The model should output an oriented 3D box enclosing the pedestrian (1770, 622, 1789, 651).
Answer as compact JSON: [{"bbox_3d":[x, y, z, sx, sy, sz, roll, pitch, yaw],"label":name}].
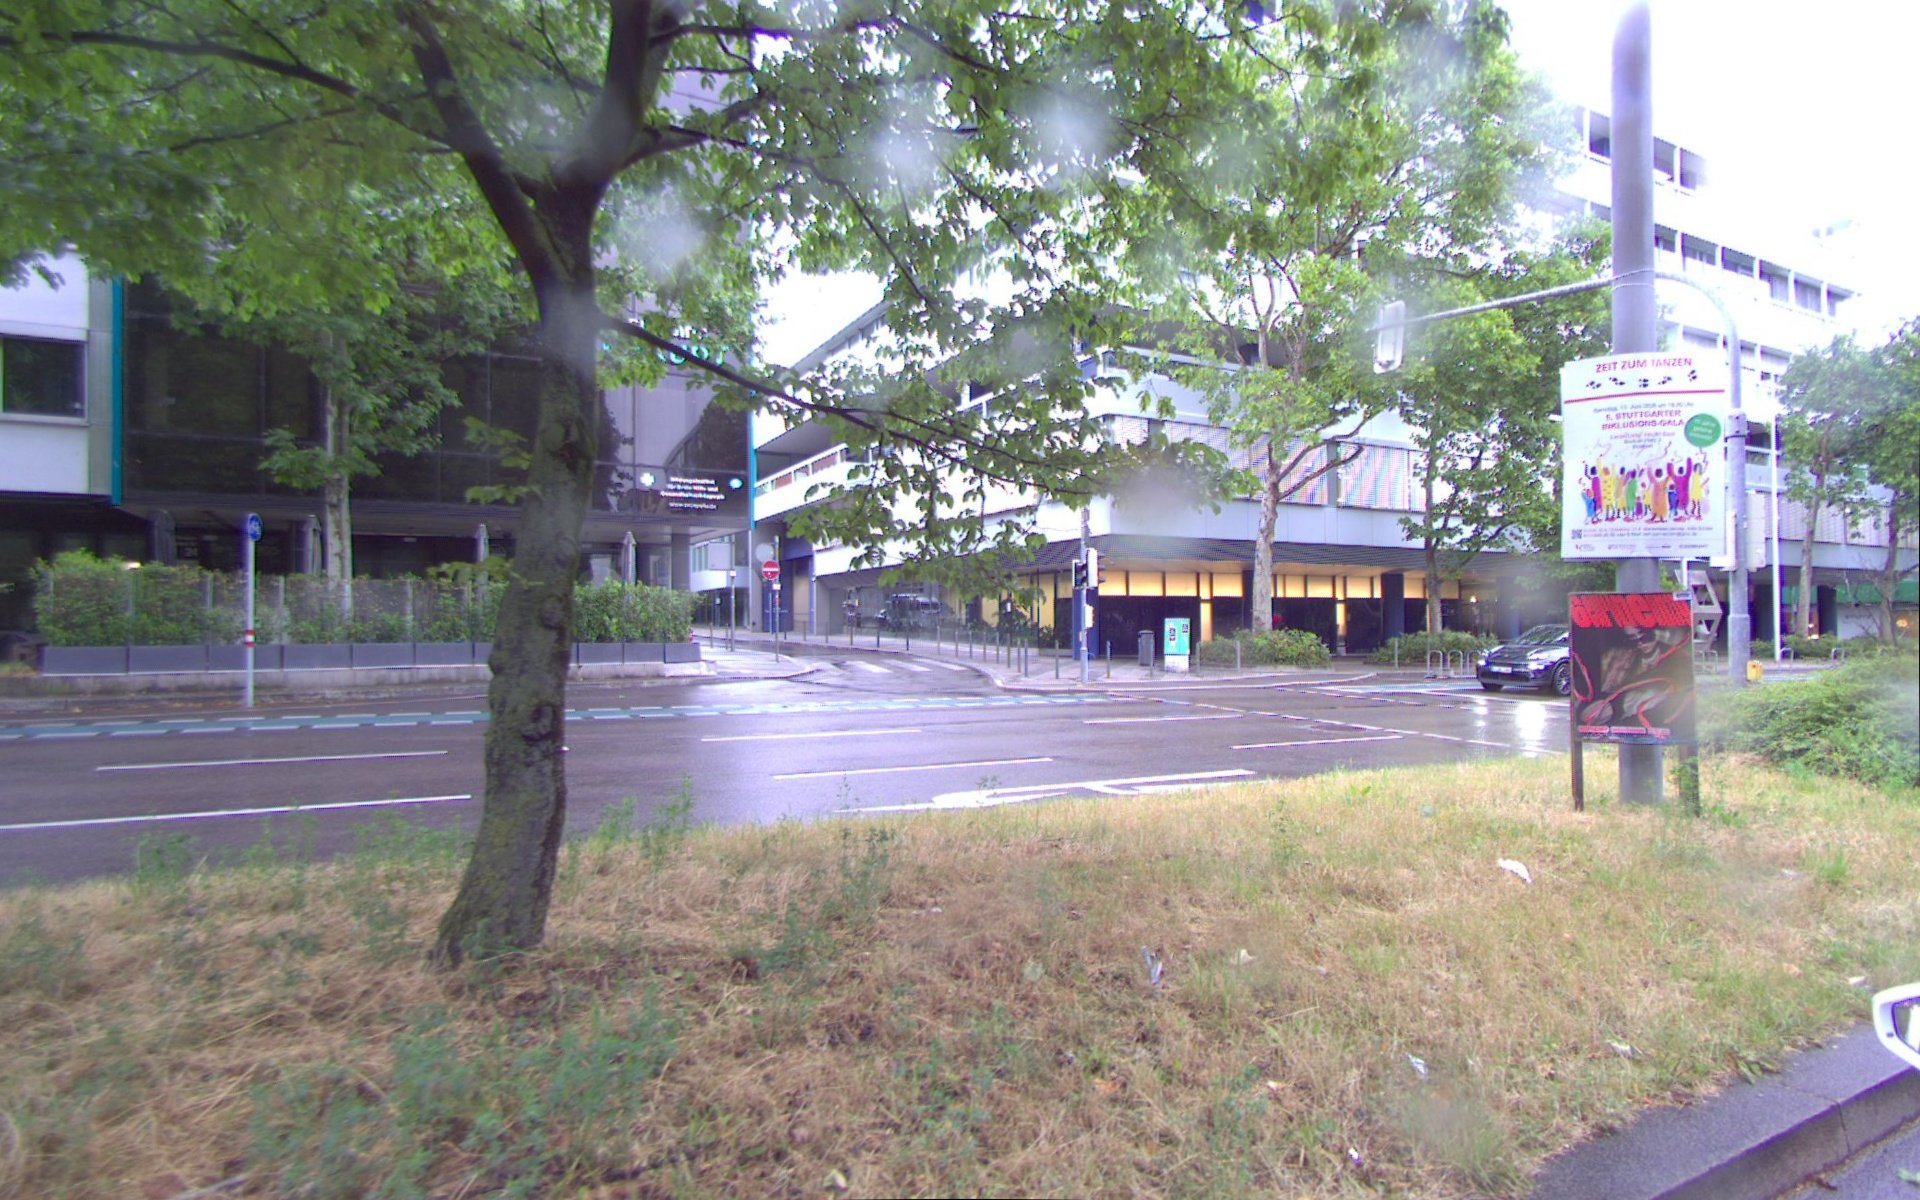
[{"bbox_3d":[43.683,1.928,53.555,0.568,1.502,0.606,2,0,-32],"label":"pedestrian"}]

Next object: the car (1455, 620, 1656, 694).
[{"bbox_3d":[14.428,1.374,24.313,4.683,1.605,1.903,2,0,-26],"label":"car"}]
